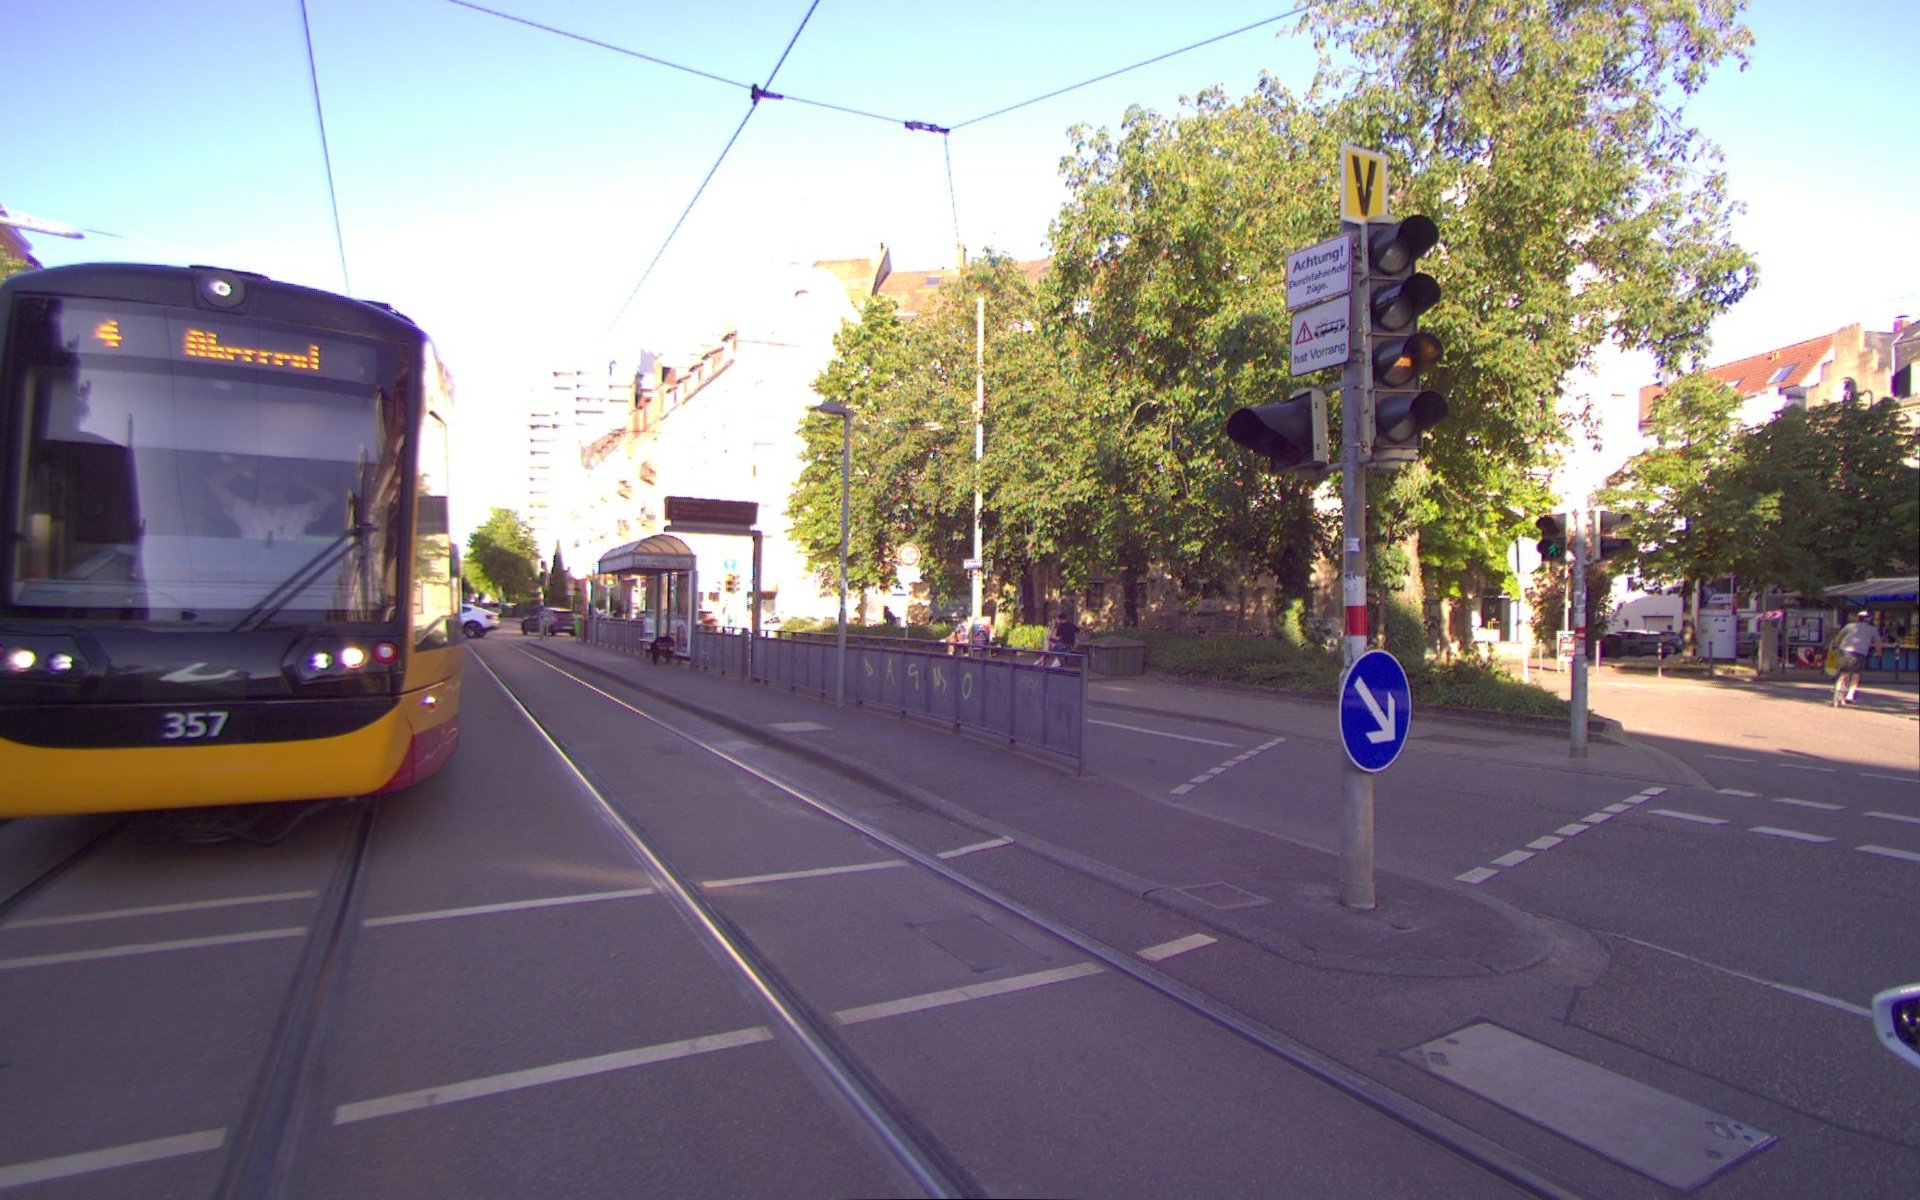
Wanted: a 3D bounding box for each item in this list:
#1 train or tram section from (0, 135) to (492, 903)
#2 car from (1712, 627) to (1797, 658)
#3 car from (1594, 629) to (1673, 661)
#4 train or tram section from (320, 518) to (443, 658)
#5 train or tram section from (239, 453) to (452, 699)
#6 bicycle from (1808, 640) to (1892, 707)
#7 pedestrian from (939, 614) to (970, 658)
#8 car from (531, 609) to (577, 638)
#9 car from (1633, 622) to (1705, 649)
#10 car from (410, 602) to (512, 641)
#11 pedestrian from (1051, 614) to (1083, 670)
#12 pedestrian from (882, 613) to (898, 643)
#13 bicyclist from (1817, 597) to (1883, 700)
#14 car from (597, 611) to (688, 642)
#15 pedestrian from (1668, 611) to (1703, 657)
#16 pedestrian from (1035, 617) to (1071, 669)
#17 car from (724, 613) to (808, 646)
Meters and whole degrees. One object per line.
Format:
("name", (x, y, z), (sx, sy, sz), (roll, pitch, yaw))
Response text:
("train or tram section", (-6.681, -0.346, 10.327), (2.766, 3.668, 11.715), (1, -1, -28))
("car", (43.287, 2.293, 54.833), (1.640, 1.519, 3.570), (2, -1, -5))
("car", (35.743, 2.376, 53.380), (1.639, 1.519, 3.571), (2, -1, -3))
("train or tram section", (-18.119, -0.252, 32.000), (2.739, 3.604, 12.589), (1, -1, -28))
("train or tram section", (-12.300, -0.304, 20.965), (2.752, 3.635, 12.330), (1, -1, -28))
("bicycle", (17.251, 1.389, 19.450), (2.206, 1.200, 0.804), (2, -1, -37))
("pedestrian", (-0.178, 1.119, 31.295), (0.726, 1.361, 0.690), (1, -1, -25))
("car", (-21.323, 1.212, 52.691), (1.766, 1.428, 3.969), (2, -1, -29))
("car", (42.486, 2.103, 60.272), (1.639, 1.519, 3.572), (2, -1, -2))
("car", (-22.526, 0.985, 45.532), (3.941, 1.669, 1.939), (1, -1, -22))
("pedestrian", (2.721, 1.055, 25.656), (0.638, 1.407, 0.667), (1, 0, -11))
("pedestrian", (-3.147, 1.254, 45.415), (0.515, 1.361, 0.536), (1, -1, 26))
("bicyclist", (17.249, 0.914, 19.470), (0.937, 1.939, 0.788), (1, 0, -39))
("car", (-15.666, 1.301, 49.663), (3.919, 1.428, 1.789), (1, 0, 12))
("pedestrian", (28.269, 1.317, 39.140), (0.703, 1.773, 0.883), (1, 0, -7))
("pedestrian", (2.452, 1.130, 26.536), (0.804, 1.361, 0.667), (1, -1, -11))
("car", (-8.861, 1.348, 45.966), (3.409, 1.428, 1.565), (1, 0, 8))
